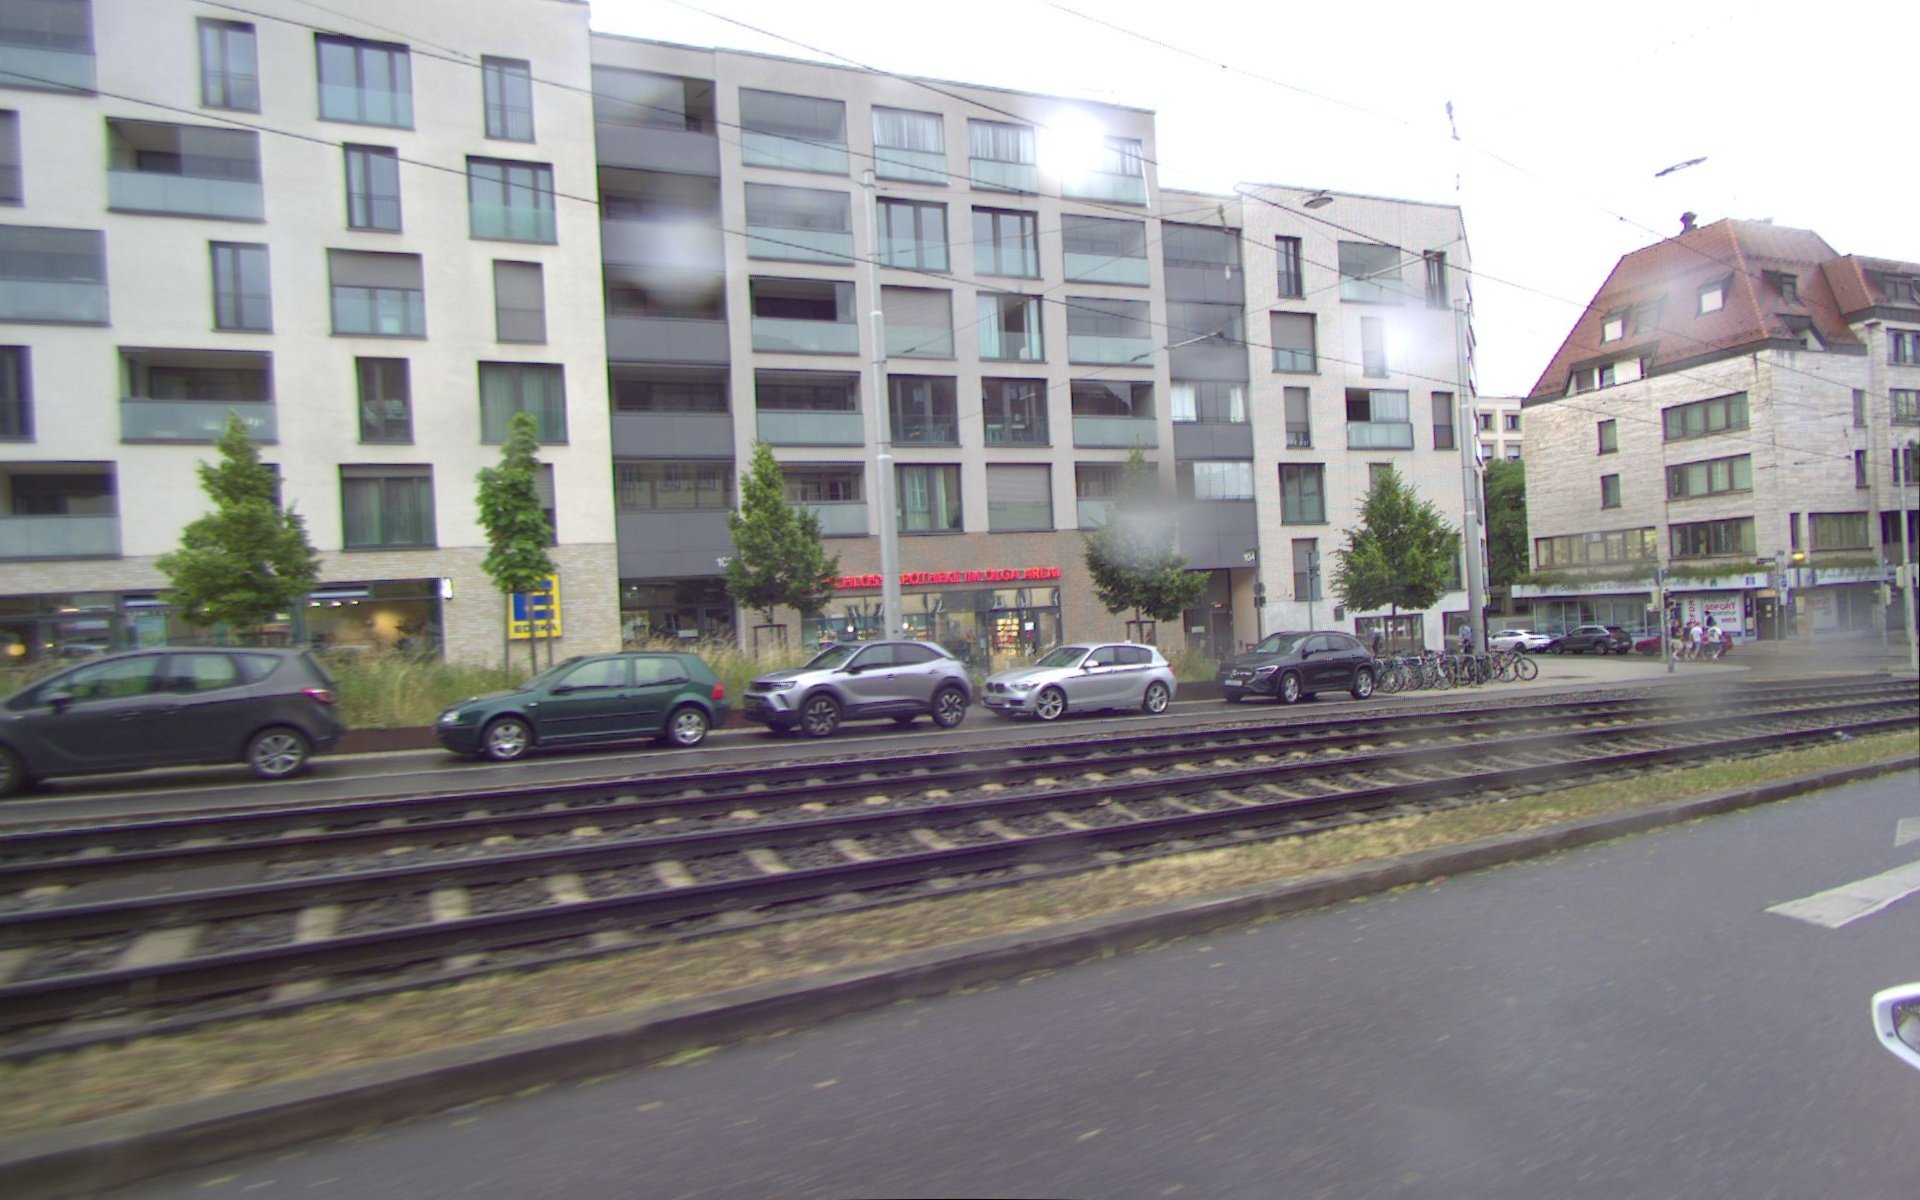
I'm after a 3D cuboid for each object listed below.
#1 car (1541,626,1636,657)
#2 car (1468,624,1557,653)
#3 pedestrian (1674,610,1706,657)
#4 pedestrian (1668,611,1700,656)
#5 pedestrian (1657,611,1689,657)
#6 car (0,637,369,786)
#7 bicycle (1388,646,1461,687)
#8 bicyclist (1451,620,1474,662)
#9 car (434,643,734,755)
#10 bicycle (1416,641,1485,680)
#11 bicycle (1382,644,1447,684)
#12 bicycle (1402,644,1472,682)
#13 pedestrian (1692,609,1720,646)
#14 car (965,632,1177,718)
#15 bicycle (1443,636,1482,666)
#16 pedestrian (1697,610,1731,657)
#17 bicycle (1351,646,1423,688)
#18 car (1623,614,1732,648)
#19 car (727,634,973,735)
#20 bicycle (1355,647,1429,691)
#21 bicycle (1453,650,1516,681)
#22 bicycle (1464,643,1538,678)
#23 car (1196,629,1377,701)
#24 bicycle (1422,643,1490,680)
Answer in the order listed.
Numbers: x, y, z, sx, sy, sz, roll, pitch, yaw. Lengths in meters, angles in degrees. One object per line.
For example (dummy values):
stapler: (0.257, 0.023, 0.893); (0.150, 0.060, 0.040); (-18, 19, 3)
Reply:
car: (34.425, 2.298, 55.134); (1.796, 1.589, 4.127); (-1, -2, -22)
car: (32.652, 2.298, 59.487); (1.880, 1.589, 4.452); (-1, -2, -22)
pedestrian: (32.763, 1.504, 45.080); (0.757, 2.040, 0.936); (0, -2, -35)
pedestrian: (33.545, 1.569, 46.547); (0.757, 2.040, 0.936); (0, -2, -35)
pedestrian: (32.556, 1.556, 45.873); (0.757, 2.040, 0.936); (0, -2, -35)
car: (-9.621, 1.253, 12.129); (4.268, 1.533, 1.711); (0, -1, -31)
bicycle: (12.776, 1.821, 27.650); (0.454, 1.078, 1.779); (0, -1, -45)
bicyclist: (19.124, 1.560, 38.213); (0.694, 1.594, 0.458); (0, -2, -33)
car: (-5.495, 1.366, 14.823); (3.963, 1.380, 1.542); (0, -2, -31)
bicycle: (14.608, 1.790, 29.947); (1.775, 1.123, 0.453); (-2, -1, 40)
bicycle: (13.087, 1.833, 28.981); (0.480, 1.086, 1.762); (0, -1, -28)
bicycle: (13.940, 1.825, 29.387); (0.454, 1.078, 1.779); (0, -1, -45)
pedestrian: (39.874, 1.464, 53.696); (0.817, 1.957, 0.899); (0, -3, -35)
car: (2.257, 1.418, 19.971); (4.042, 1.523, 1.762); (1, -2, -35)
bicycle: (19.107, 1.928, 38.192); (1.782, 1.078, 0.453); (0, -1, -32)
pedestrian: (33.127, 1.486, 44.144); (0.756, 2.040, 0.937); (0, -2, -31)
bicycle: (11.643, 1.810, 27.442); (0.454, 1.078, 1.781); (0, -1, -41)
car: (36.003, 1.589, 50.521); (1.796, 1.589, 4.127); (-1, -2, -22)
car: (-1.867, 1.374, 17.401); (3.881, 1.523, 1.762); (1, -3, -35)
bicycle: (11.386, 1.804, 26.519); (0.453, 1.078, 1.783); (0, -1, -38)
bicycle: (16.227, 2.015, 31.105); (0.564, 0.877, 1.635); (0, -1, -40)
bicycle: (17.111, 1.904, 31.793); (0.715, 1.041, 1.934); (0, -1, -39)
car: (7.760, 1.487, 23.746); (4.194, 1.523, 1.900); (1, -3, -35)
bicycle: (15.298, 1.878, 31.000); (0.565, 1.078, 1.780); (0, -1, -42)
